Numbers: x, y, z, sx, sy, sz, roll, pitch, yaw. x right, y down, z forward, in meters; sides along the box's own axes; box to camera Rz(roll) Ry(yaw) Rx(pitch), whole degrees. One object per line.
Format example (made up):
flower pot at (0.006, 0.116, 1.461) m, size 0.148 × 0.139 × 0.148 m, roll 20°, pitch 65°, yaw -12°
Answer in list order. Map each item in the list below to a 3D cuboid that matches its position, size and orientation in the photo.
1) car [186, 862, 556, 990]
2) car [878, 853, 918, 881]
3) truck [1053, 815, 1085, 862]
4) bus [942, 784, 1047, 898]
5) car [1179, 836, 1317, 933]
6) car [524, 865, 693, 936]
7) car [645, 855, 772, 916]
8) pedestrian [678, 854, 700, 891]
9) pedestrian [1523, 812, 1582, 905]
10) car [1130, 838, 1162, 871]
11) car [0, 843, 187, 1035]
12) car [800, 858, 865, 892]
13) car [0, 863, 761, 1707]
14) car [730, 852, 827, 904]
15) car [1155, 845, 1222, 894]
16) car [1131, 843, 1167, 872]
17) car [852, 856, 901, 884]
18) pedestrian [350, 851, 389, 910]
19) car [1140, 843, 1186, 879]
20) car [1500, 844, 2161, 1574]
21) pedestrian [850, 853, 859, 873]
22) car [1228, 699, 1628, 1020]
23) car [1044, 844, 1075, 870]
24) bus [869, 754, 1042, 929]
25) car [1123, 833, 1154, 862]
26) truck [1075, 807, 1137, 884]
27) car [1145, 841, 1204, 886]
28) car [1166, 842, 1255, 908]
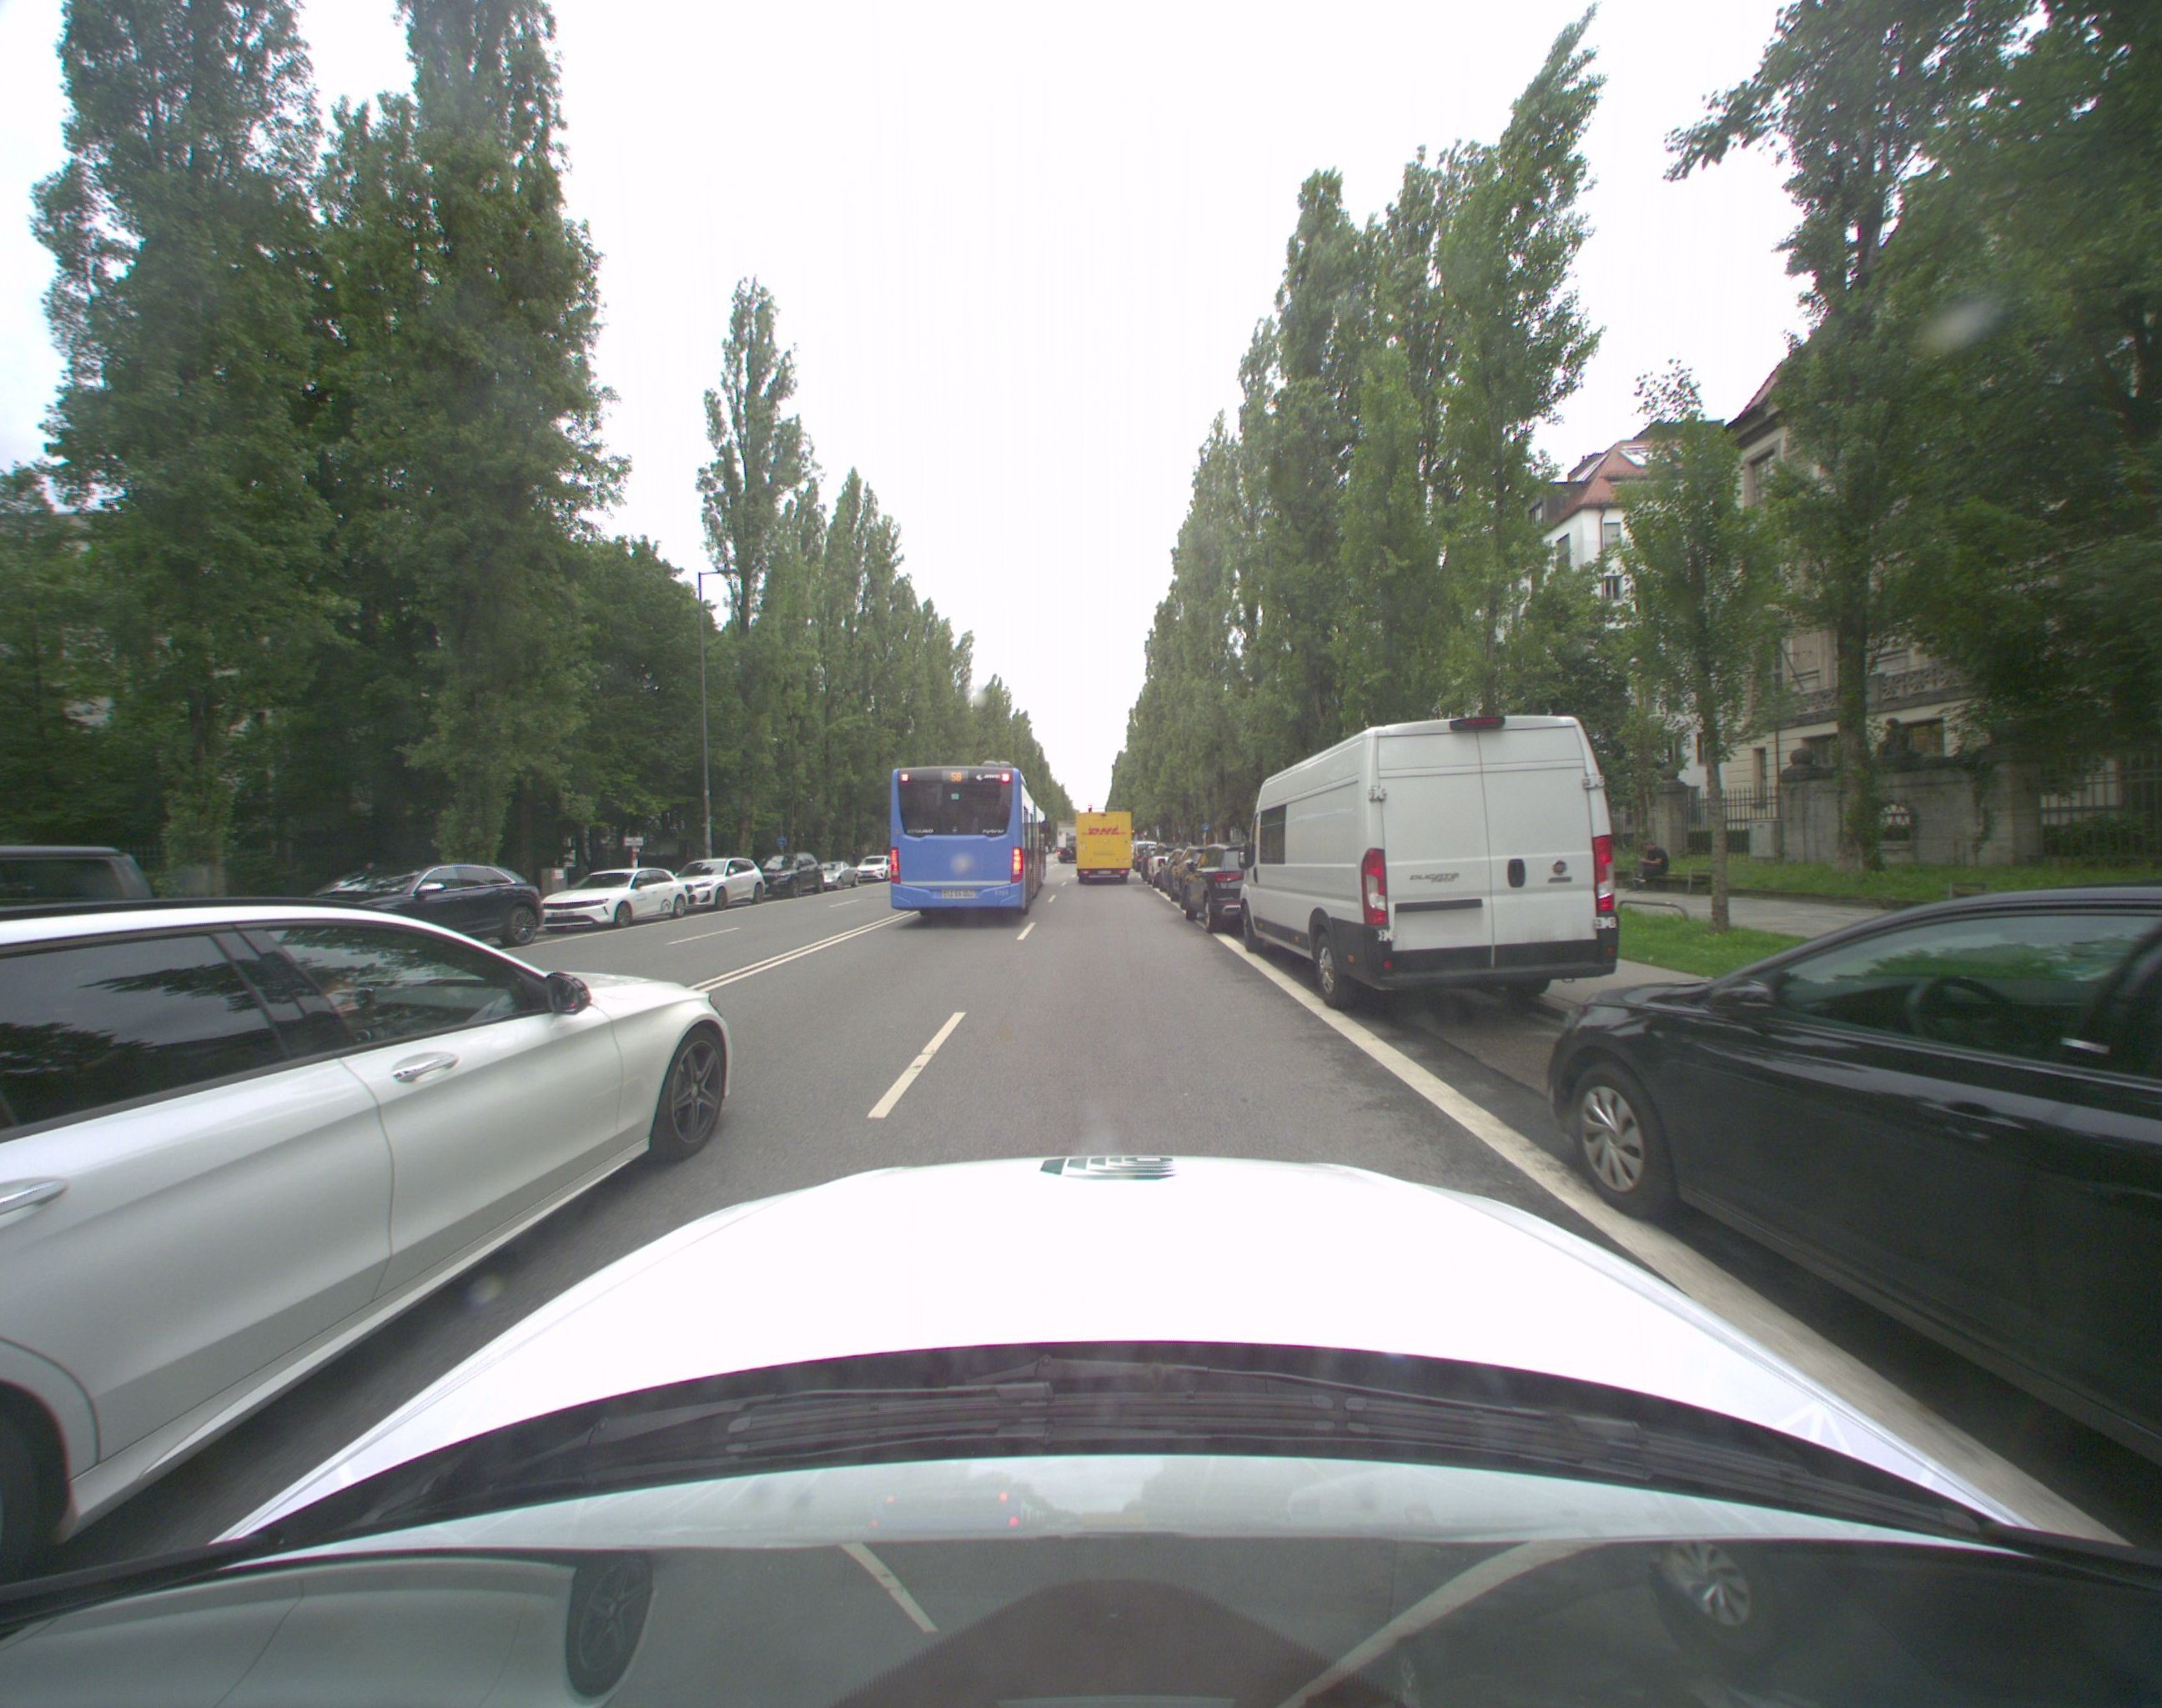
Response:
car at (-11.691, 1.044, 14.070) m, size 1.809 × 1.608 × 5.054 m, roll -4°, pitch 0°, yaw 1°
car at (-11.316, 0.773, 50.568) m, size 1.740 × 1.518 × 4.111 m, roll -3°, pitch 0°, yaw -4°
truck at (-1.102, -1.419, 75.240) m, size 2.708 × 3.965 × 9.214 m, roll -2°, pitch 1°, yaw -1°
bus at (-2.730, -0.437, 28.865) m, size 2.864 × 3.303 × 9.783 m, roll -2°, pitch 1°, yaw -2°
car at (3.038, 0.488, 15.654) m, size 1.815 × 1.590 × 4.223 m, roll -1°, pitch 1°, yaw 0°
car at (-11.726, 1.085, 20.592) m, size 1.670 × 1.422 × 4.238 m, roll -3°, pitch 0°, yaw 1°
car at (-11.685, 0.927, 25.946) m, size 1.779 × 1.588 × 4.463 m, roll -4°, pitch 1°, yaw 2°
pedestrian at (-19.431, 0.899, 40.347) m, size 0.637 × 1.815 × 0.775 m, roll -2°, pitch 0°, yaw 1°
pedestrian at (9.684, 0.090, 16.756) m, size 0.654 × 1.839 × 0.782 m, roll -2°, pitch 0°, yaw -13°
car at (4.188, 0.010, 52.845) m, size 1.799 × 1.976 × 4.238 m, roll -1°, pitch 1°, yaw 2°
car at (-12.080, 0.940, 7.532) m, size 1.987 × 1.956 × 4.938 m, roll -3°, pitch 1°, yaw 1°
car at (-11.334, 0.940, 37.439) m, size 1.574 × 1.304 × 4.030 m, roll -4°, pitch 1°, yaw 2°
car at (-2.827, 0.810, 2.478) m, size 1.819 × 1.454 × 4.583 m, roll -1°, pitch 0°, yaw 1°
car at (-11.537, 0.856, 31.406) m, size 1.874 × 1.658 × 4.717 m, roll -4°, pitch 1°, yaw 0°
car at (3.371, 0.445, 26.139) m, size 1.627 × 1.445 × 4.149 m, roll 1°, pitch 0°, yaw 0°
car at (3.904, 0.168, 47.333) m, size 1.856 × 1.552 × 4.002 m, roll -1°, pitch 1°, yaw 2°
car at (-11.473, 0.867, 45.927) m, size 1.680 × 1.413 × 4.004 m, roll -3°, pitch 0°, yaw 0°
pedestrian at (-21.311, 0.782, 24.399) m, size 0.547 × 1.747 × 0.673 m, roll -1°, pitch 0°, yaw 0°
car at (3.586, 0.269, 36.212) m, size 1.719 × 1.495 × 4.326 m, roll -1°, pitch 1°, yaw 2°
car at (3.038, 0.708, 2.243) m, size 1.748 × 1.449 × 4.000 m, roll 1°, pitch 1°, yaw 1°
pedestrian at (-20.567, 0.798, 73.988) m, size 0.597 × 1.739 × 0.640 m, roll -2°, pitch 0°, yaw 1°
car at (3.274, 0.001, 9.492) m, size 2.067 × 2.479 × 6.285 m, roll -1°, pitch 1°, yaw 1°
car at (-1.565, 0.198, 61.036) m, size 2.028 × 1.801 × 4.509 m, roll -2°, pitch 1°, yaw 1°
bus at (-2.549, -0.293, 19.667) m, size 2.847 × 3.213 × 9.056 m, roll -1°, pitch 1°, yaw -1°
car at (4.243, -0.544, 61.195) m, size 2.045 × 2.013 × 5.694 m, roll -2°, pitch 1°, yaw 1°
truck at (1.021, -0.362, 35.186) m, size 2.320 × 2.898 × 7.333 m, roll -1°, pitch 1°, yaw 0°
car at (3.442, 0.318, 30.537) m, size 1.775 × 1.581 × 4.147 m, roll 0°, pitch 1°, yaw 0°
car at (3.180, 0.467, 20.744) m, size 1.646 × 1.503 × 4.114 m, roll -1°, pitch 1°, yaw 1°
